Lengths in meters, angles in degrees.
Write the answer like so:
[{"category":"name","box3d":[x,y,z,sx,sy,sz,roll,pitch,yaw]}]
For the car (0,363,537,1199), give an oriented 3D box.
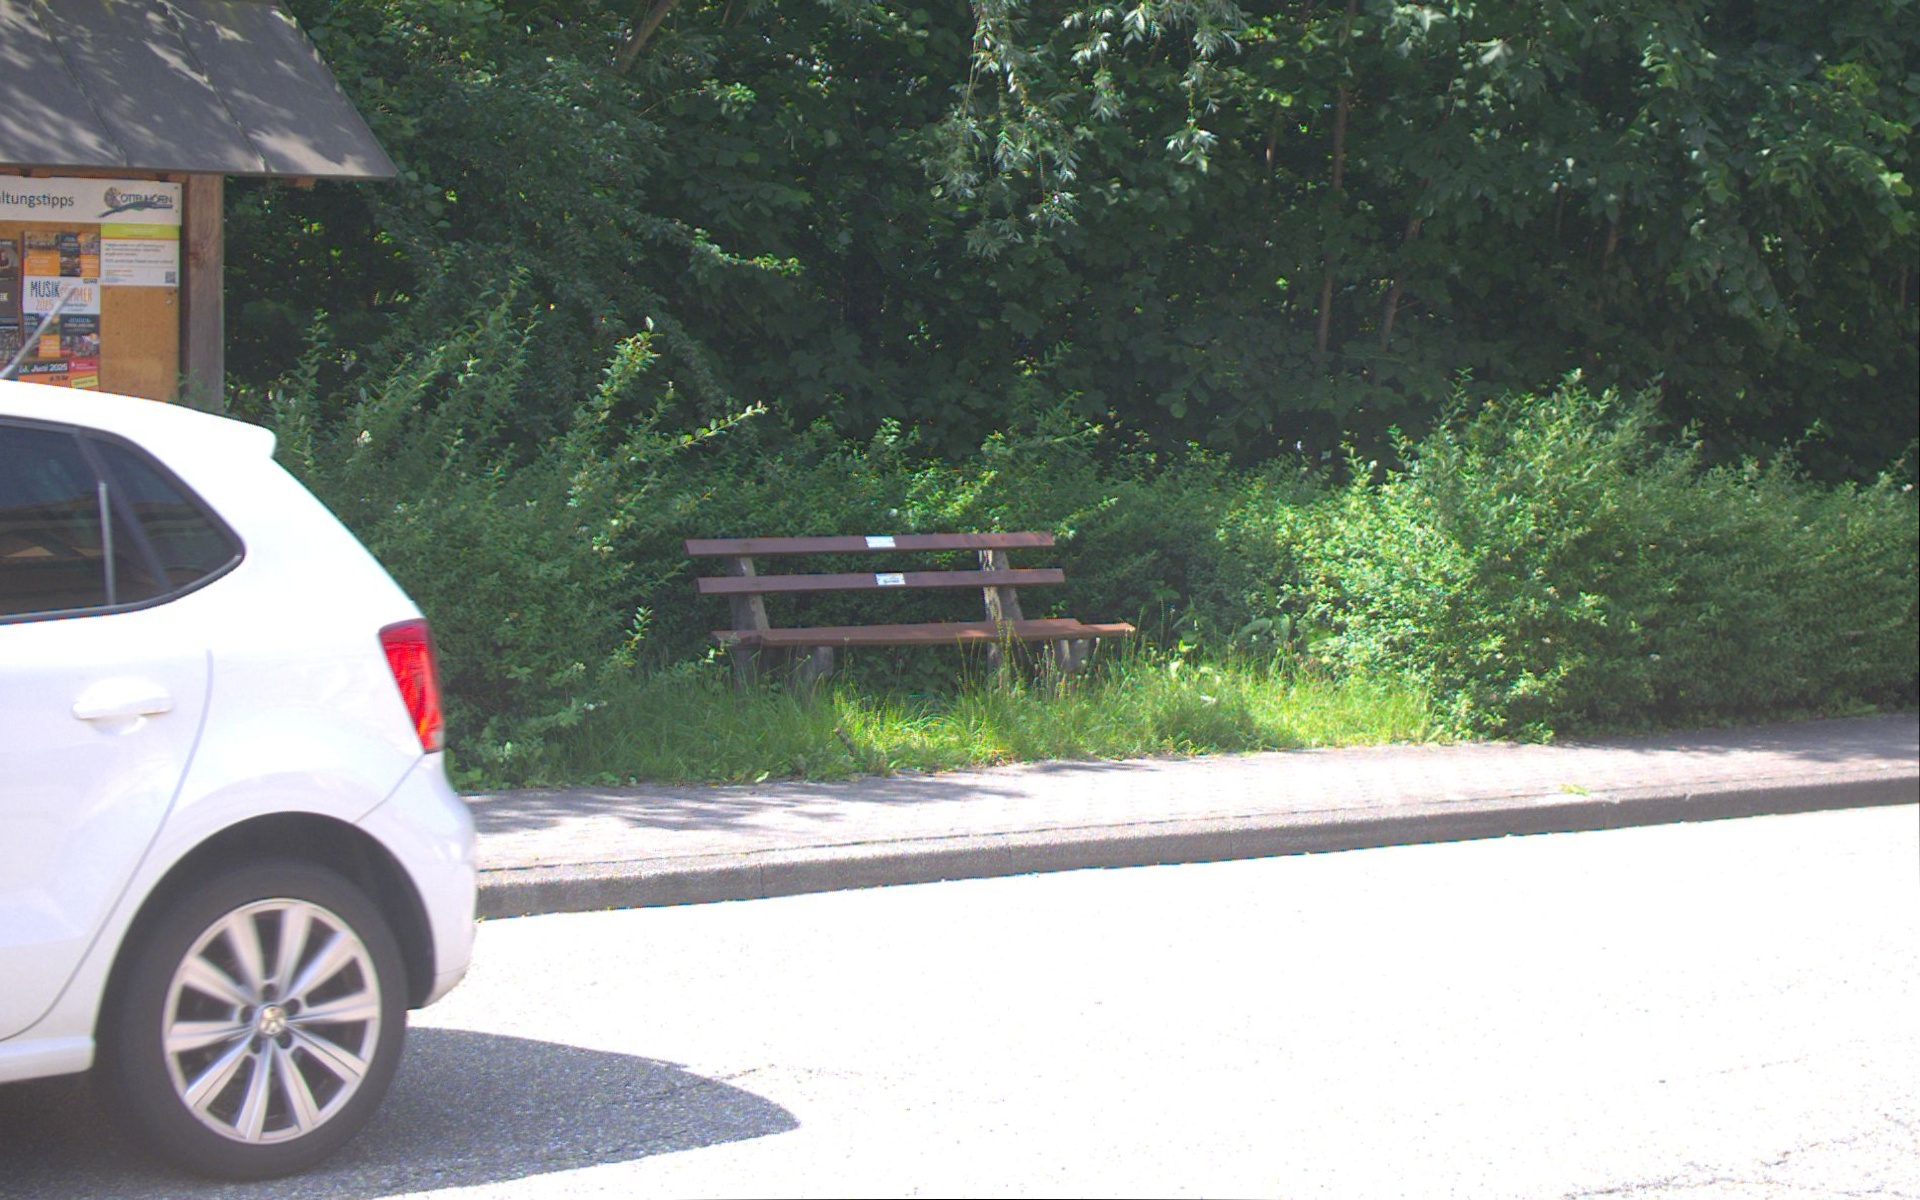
[{"category":"car","box3d":[-2.762,0.275,5.726,3.816,1.401,1.609,0,2,-42]}]
